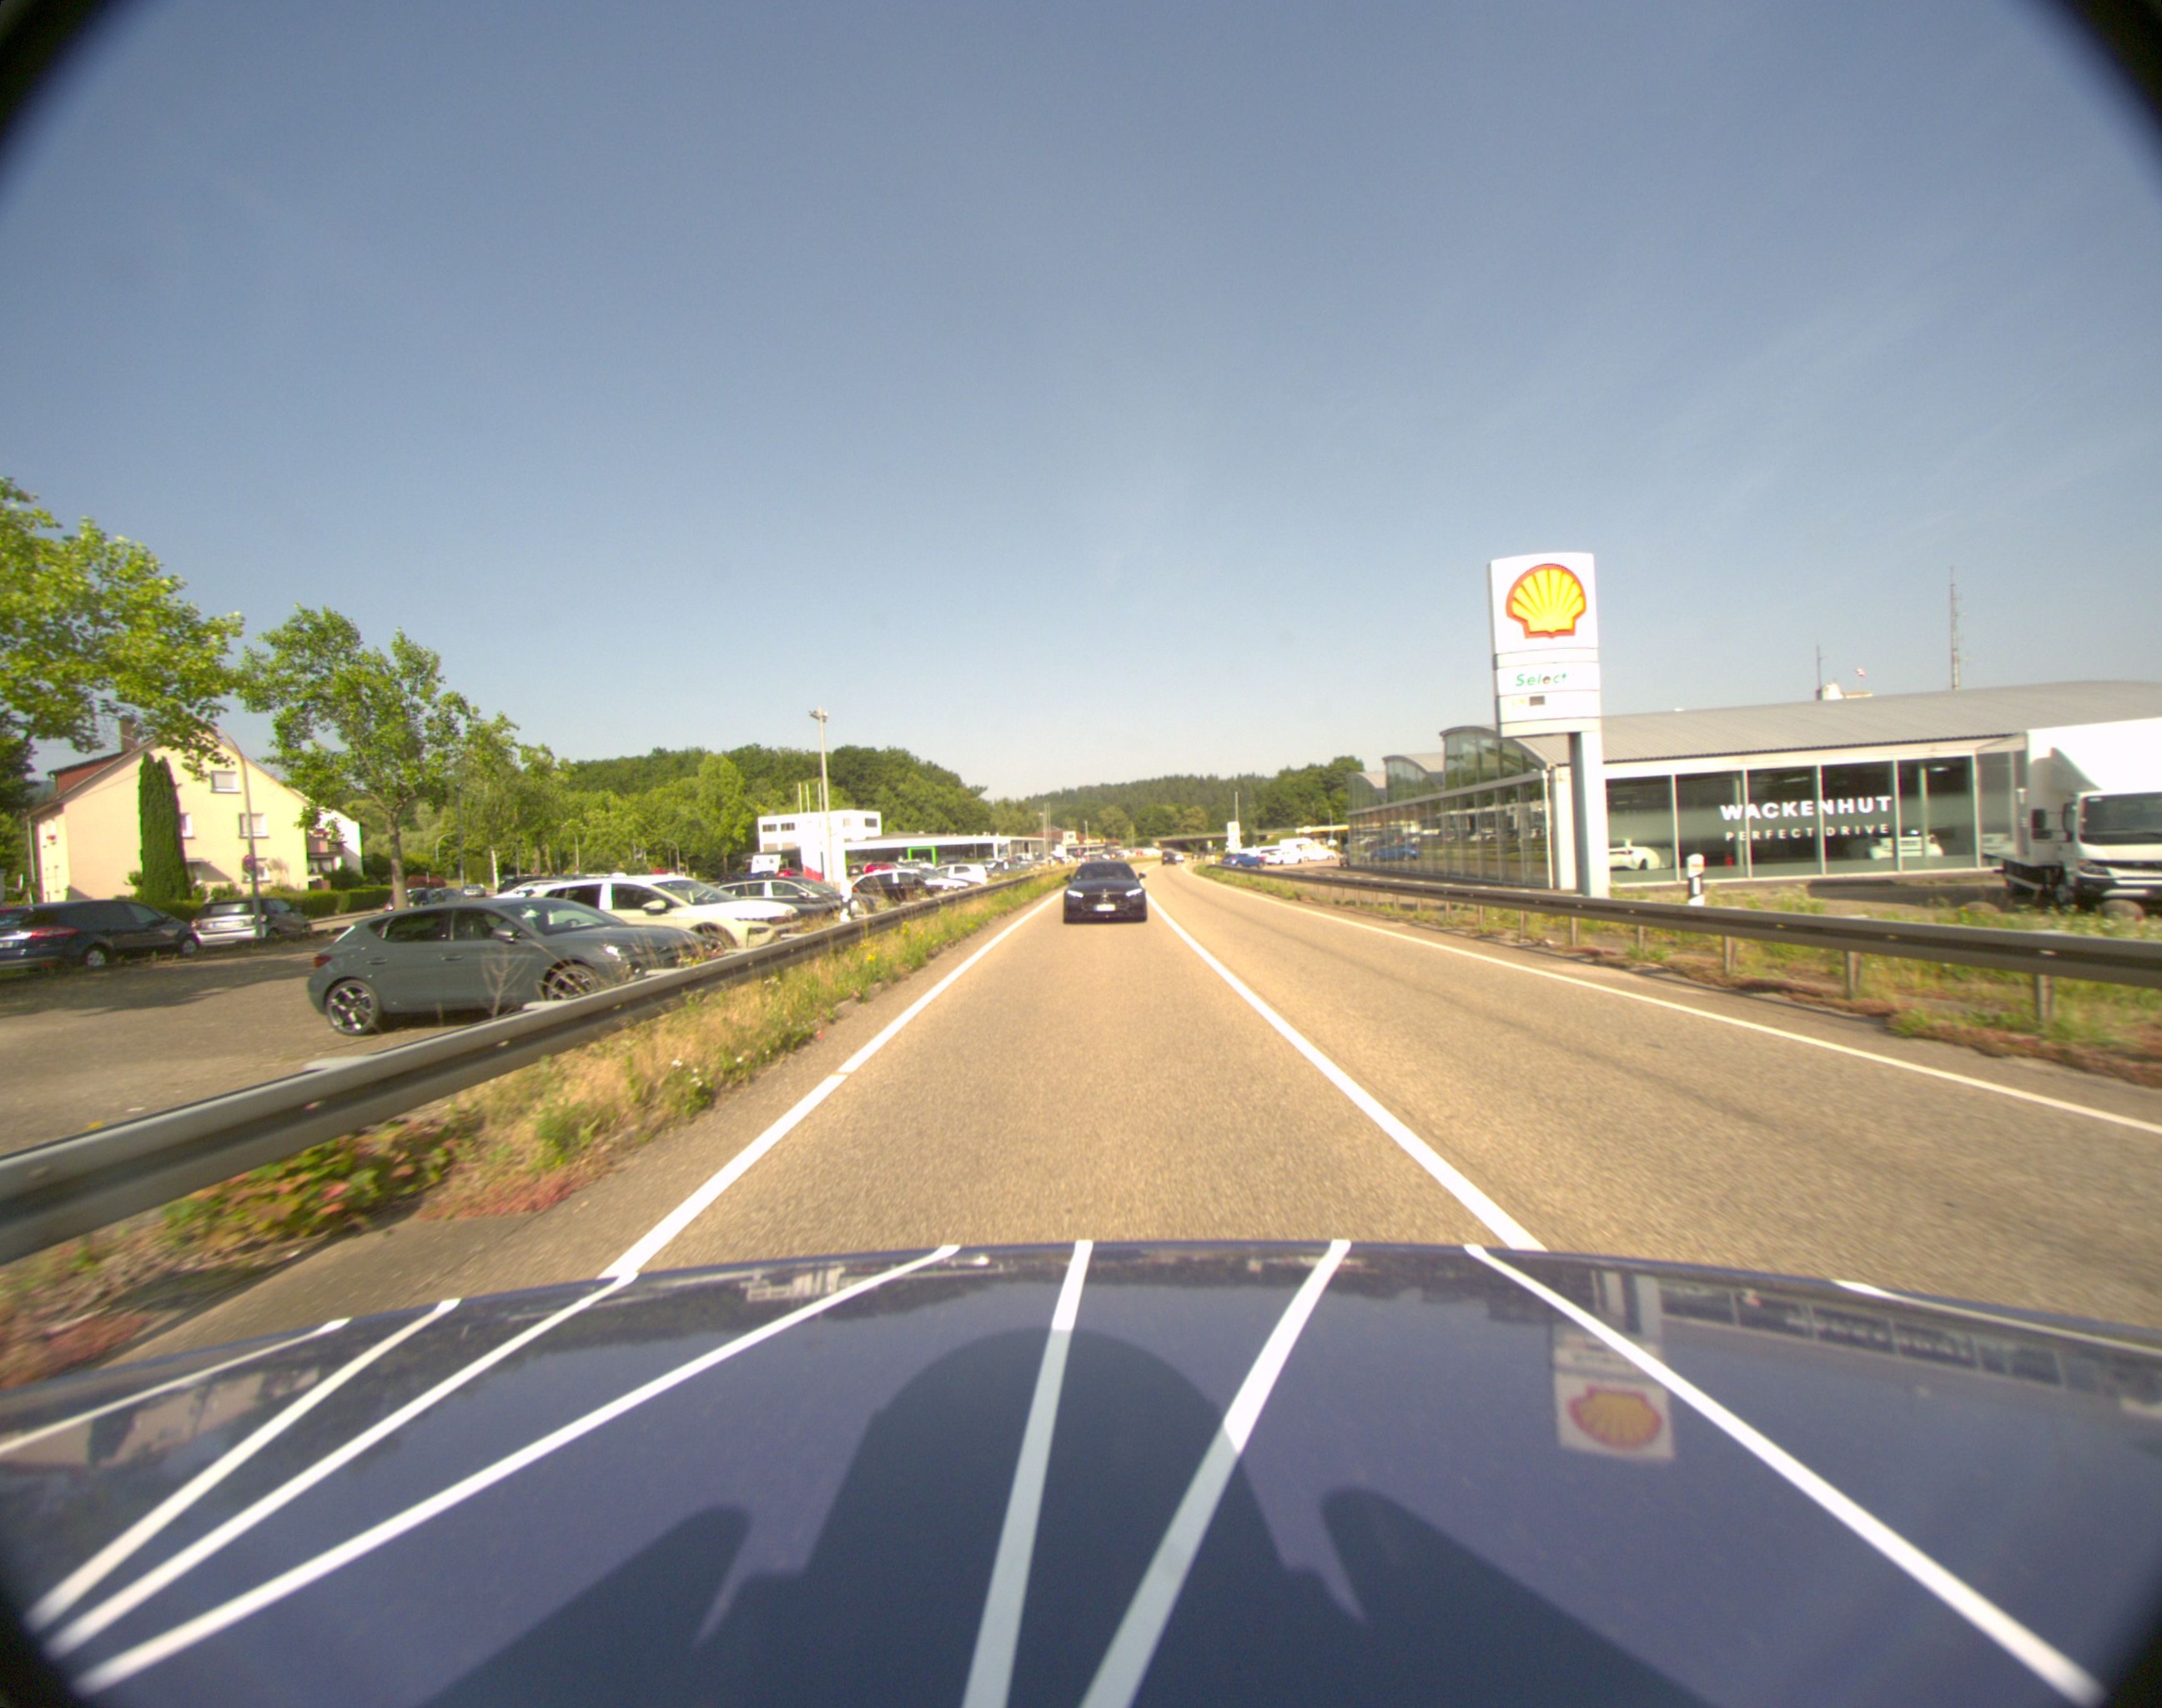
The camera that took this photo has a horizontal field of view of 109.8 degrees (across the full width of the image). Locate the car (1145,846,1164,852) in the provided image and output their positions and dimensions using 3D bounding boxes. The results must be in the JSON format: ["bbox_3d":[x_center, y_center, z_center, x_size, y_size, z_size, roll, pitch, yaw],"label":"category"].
[{"bbox_3d":[18.708,-1.189,194.601,4.567,1.456,1.879,-1,1,14],"label":"car"}]

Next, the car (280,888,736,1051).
[{"bbox_3d":[-6.717,1.323,9.202,4.158,1.474,1.883,-4,1,6],"label":"car"}]

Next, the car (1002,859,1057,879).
[{"bbox_3d":[-4.158,1.206,61.737,4.168,1.482,1.732,-1,1,6],"label":"car"}]

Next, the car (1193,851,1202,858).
[{"bbox_3d":[25.387,0.146,165.588,1.754,1.466,4.291,-1,0,13],"label":"car"}]

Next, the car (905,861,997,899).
[{"bbox_3d":[-6.083,1.194,35.930,3.997,1.571,1.778,-2,1,0],"label":"car"}]

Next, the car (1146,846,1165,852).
[{"bbox_3d":[19.443,-1.254,198.065,4.567,1.456,1.879,-1,1,14],"label":"car"}]

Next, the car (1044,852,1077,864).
[{"bbox_3d":[-2.921,0.551,108.282,4.455,1.591,1.856,-1,1,9],"label":"car"}]

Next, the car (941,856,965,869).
[{"bbox_3d":[-16.594,1.017,98.167,1.934,1.556,4.742,-2,1,-24],"label":"car"}]

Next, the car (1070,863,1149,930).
[{"bbox_3d":[0.628,0.972,18.903,1.716,1.382,4.147,-2,0,0],"label":"car"}]

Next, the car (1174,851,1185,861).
[{"bbox_3d":[16.686,0.401,128.822,1.795,1.620,4.229,-1,0,7],"label":"car"}]

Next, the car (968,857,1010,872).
[{"bbox_3d":[-9.877,1.104,81.569,4.165,1.507,1.825,-1,1,4],"label":"car"}]

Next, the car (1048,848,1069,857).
[{"bbox_3d":[-4.843,-0.272,163.554,4.316,1.914,1.792,-1,1,13],"label":"car"}]

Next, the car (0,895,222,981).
[{"bbox_3d":[-21.824,1.770,16.705,1.916,1.397,4.517,-2,1,-20],"label":"car"}]

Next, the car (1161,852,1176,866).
[{"bbox_3d":[12.154,0.652,105.184,1.918,1.874,4.913,-1,0,7],"label":"car"}]

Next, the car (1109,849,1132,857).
[{"bbox_3d":[7.659,-0.202,146.426,4.045,1.498,1.808,-1,1,16],"label":"car"}]

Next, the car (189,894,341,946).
[{"bbox_3d":[-24.380,1.910,22.883,1.595,1.179,3.656,-2,1,-20],"label":"car"}]

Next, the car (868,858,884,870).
[{"bbox_3d":[-28.597,1.331,106.022,1.791,1.556,4.352,-1,1,-10],"label":"car"}]

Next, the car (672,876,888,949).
[{"bbox_3d":[-6.914,1.335,17.721,4.330,1.435,1.628,-2,1,2],"label":"car"}]

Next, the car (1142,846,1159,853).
[{"bbox_3d":[17.479,-1.114,190.933,3.992,1.456,1.879,-1,1,14],"label":"car"}]

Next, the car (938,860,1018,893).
[{"bbox_3d":[-5.644,1.203,41.777,3.996,1.630,1.888,-2,1,4],"label":"car"}]

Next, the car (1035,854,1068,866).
[{"bbox_3d":[-3.945,0.769,101.032,3.993,1.485,1.731,-2,1,12],"label":"car"}]

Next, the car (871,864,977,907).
[{"bbox_3d":[-6.399,1.272,31.209,3.855,1.559,1.807,-2,1,4],"label":"car"}]

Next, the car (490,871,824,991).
[{"bbox_3d":[-6.740,1.192,12.316,4.326,1.630,2.142,-2,1,12],"label":"car"}]

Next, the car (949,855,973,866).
[{"bbox_3d":[-17.388,0.926,110.108,1.793,1.556,4.345,-2,1,-32],"label":"car"}]

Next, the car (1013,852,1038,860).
[{"bbox_3d":[-10.402,0.399,143.462,4.317,1.456,1.792,-1,1,11],"label":"car"}]

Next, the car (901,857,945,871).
[{"bbox_3d":[-19.074,1.160,91.760,4.744,1.556,1.933,-1,1,10],"label":"car"}]

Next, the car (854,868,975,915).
[{"bbox_3d":[-6.079,1.345,27.991,3.996,1.513,1.698,-2,1,4],"label":"car"}]

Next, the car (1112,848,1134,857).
[{"bbox_3d":[8.300,-0.313,149.281,4.051,1.608,1.882,-1,1,16],"label":"car"}]

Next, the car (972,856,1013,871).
[{"bbox_3d":[-9.814,1.036,84.350,4.100,1.507,1.825,-2,1,8],"label":"car"}]

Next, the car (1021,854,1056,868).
[{"bbox_3d":[-5.323,0.820,96.088,4.084,1.600,1.793,-2,1,7],"label":"car"}]

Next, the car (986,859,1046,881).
[{"bbox_3d":[-4.761,1.170,55.884,4.168,1.536,1.741,-1,1,6],"label":"car"}]

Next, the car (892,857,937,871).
[{"bbox_3d":[-19.425,1.192,88.790,4.744,1.556,1.933,-1,1,10],"label":"car"}]

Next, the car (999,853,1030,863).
[{"bbox_3d":[-10.703,0.586,121.604,4.709,1.556,1.794,-1,1,28],"label":"car"}]

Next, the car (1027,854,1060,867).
[{"bbox_3d":[-4.833,0.823,98.640,3.994,1.485,1.792,-2,1,9],"label":"car"}]
